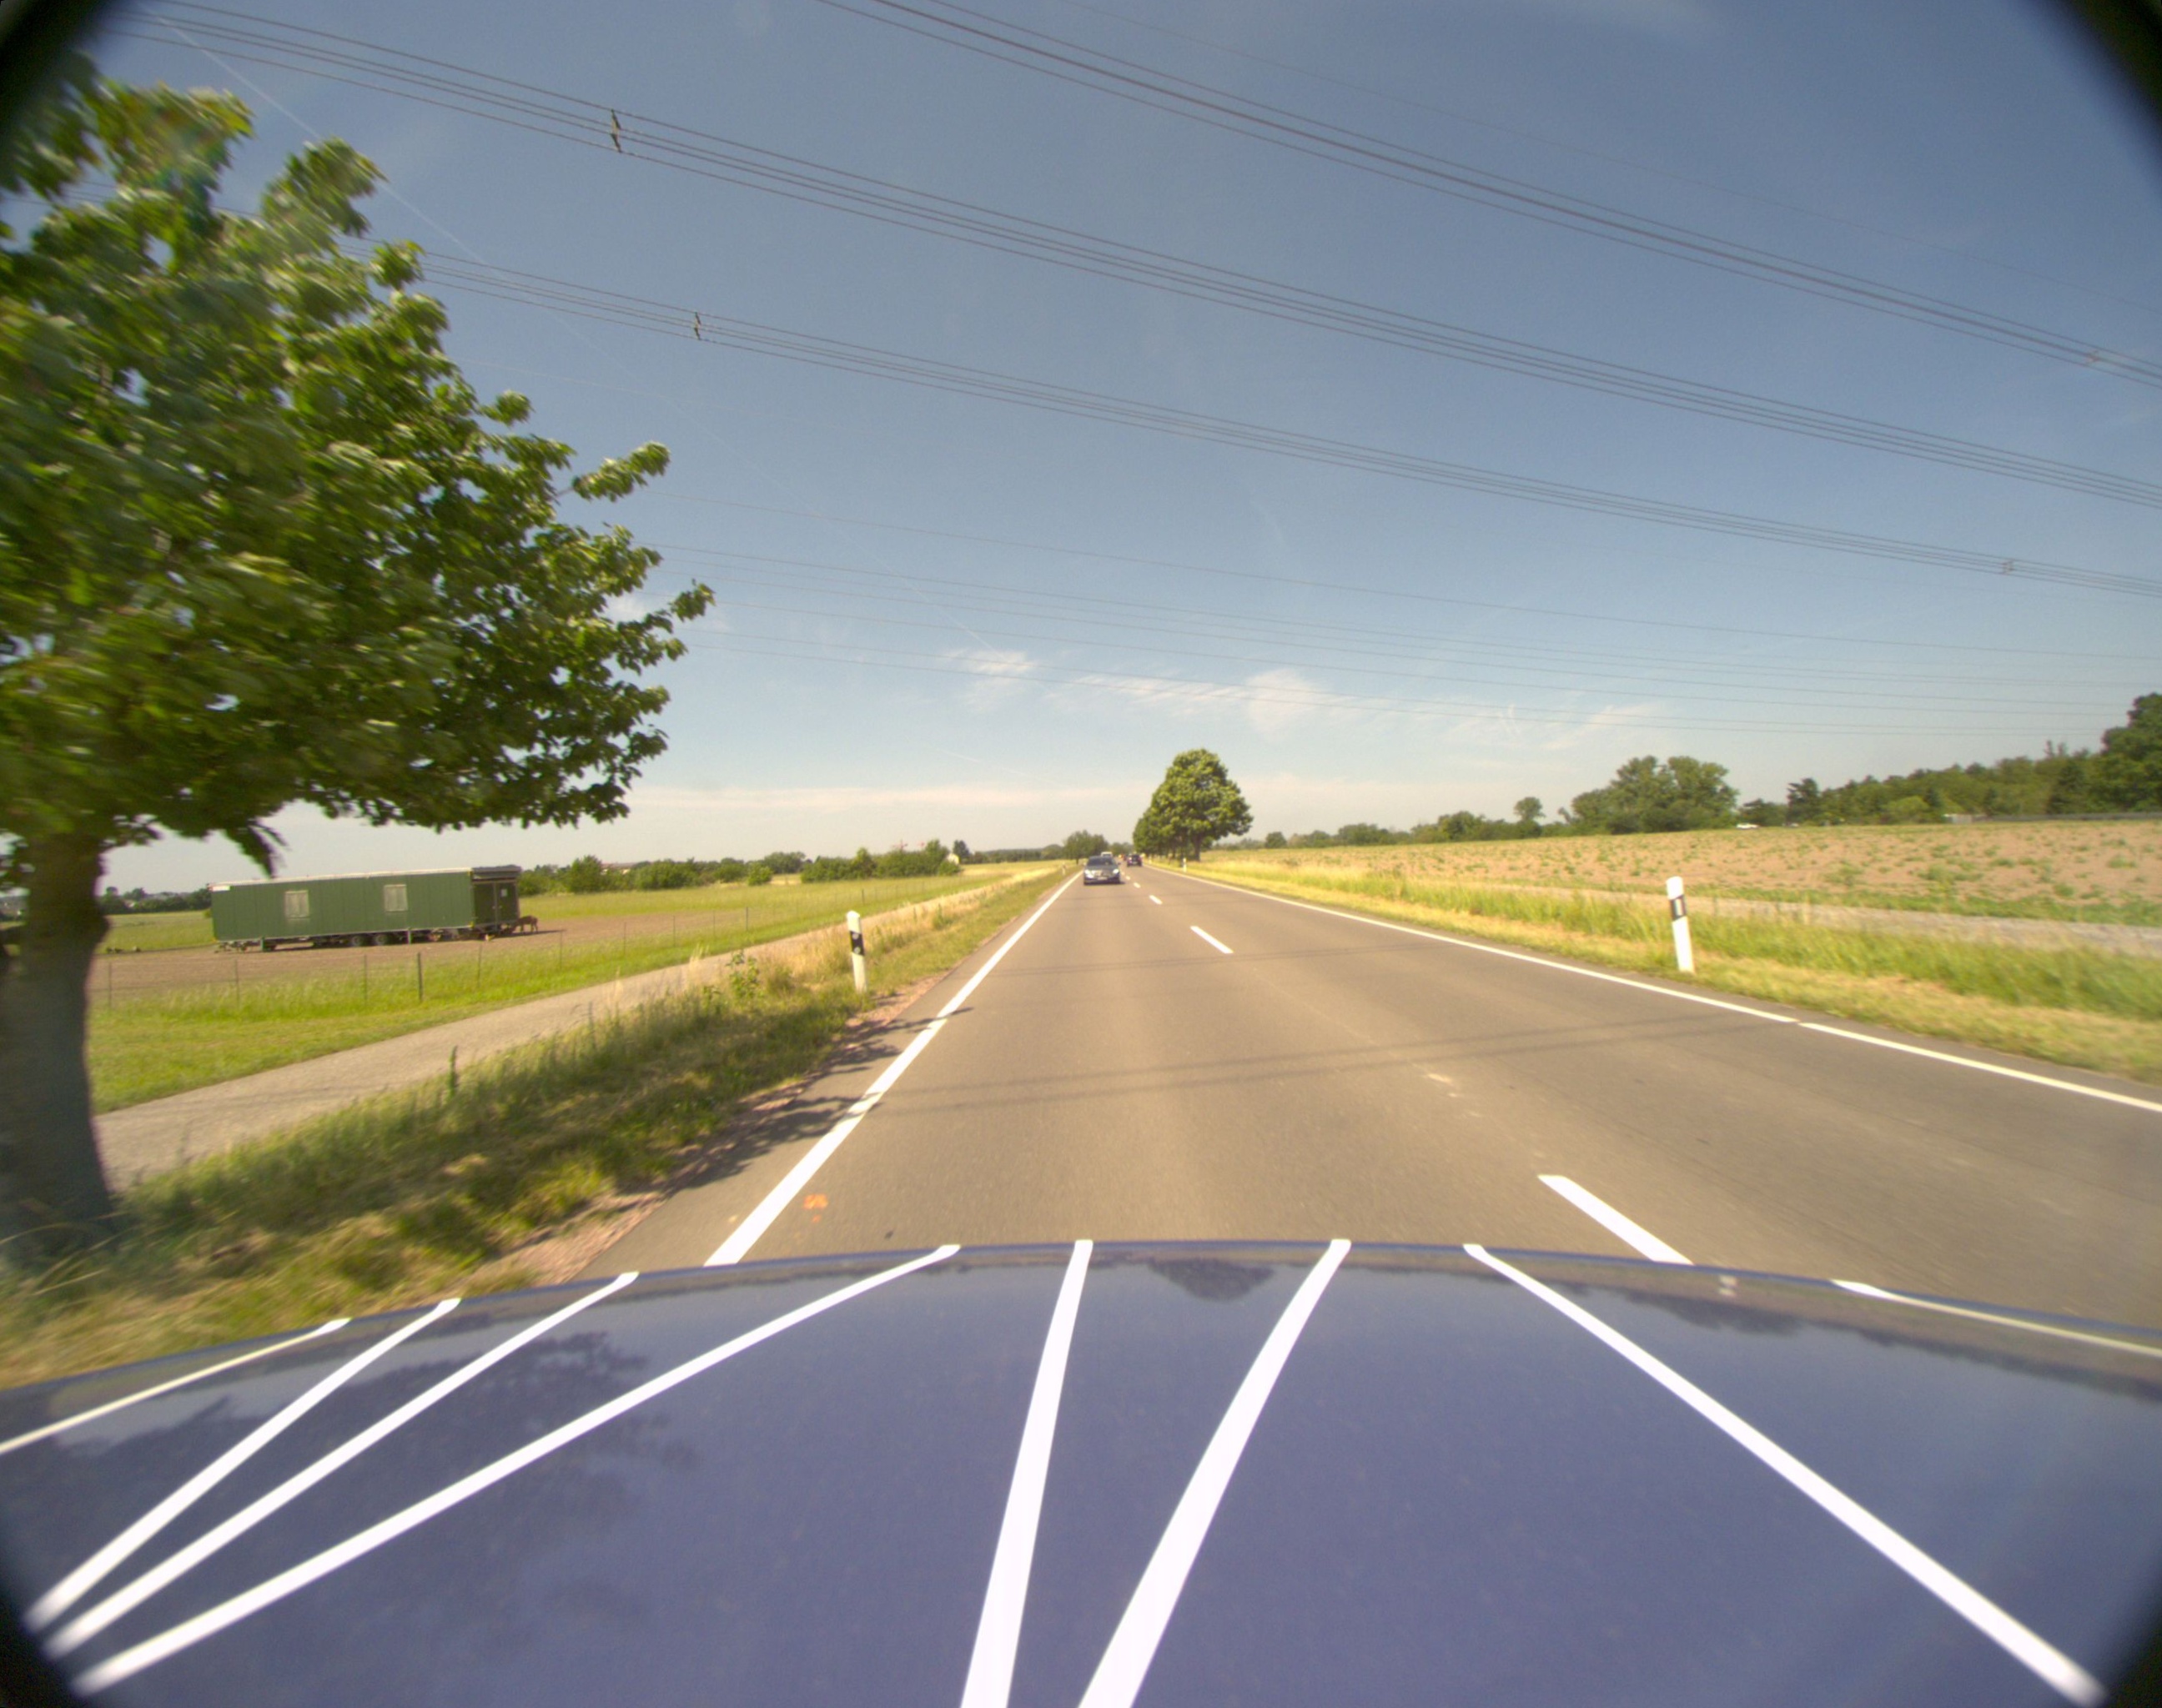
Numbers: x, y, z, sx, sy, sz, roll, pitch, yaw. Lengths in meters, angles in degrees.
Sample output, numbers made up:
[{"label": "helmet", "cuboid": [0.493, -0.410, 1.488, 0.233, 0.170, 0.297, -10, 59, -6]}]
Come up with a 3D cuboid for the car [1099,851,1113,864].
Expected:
[{"label": "car", "cuboid": [3.869, 0.566, 119.039, 1.998, 1.907, 4.206, -3, 0, 1]}]

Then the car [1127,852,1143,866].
[{"label": "car", "cuboid": [6.463, 0.584, 91.012, 1.738, 1.439, 4.000, -2, 1, 3]}]

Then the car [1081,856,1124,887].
[{"label": "car", "cuboid": [1.007, 0.801, 37.419, 1.954, 1.391, 3.999, -1, 0, -1]}]

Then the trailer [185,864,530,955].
[{"label": "trailer", "cuboid": [-34.748, 2.586, 36.873, 13.543, 3.455, 3.276, -3, 0, 1]}]

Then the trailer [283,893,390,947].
[{"label": "trailer", "cuboid": [-38.874, 3.424, 39.752, 3.416, 2.448, 2.037, -3, 1, 1]}]
